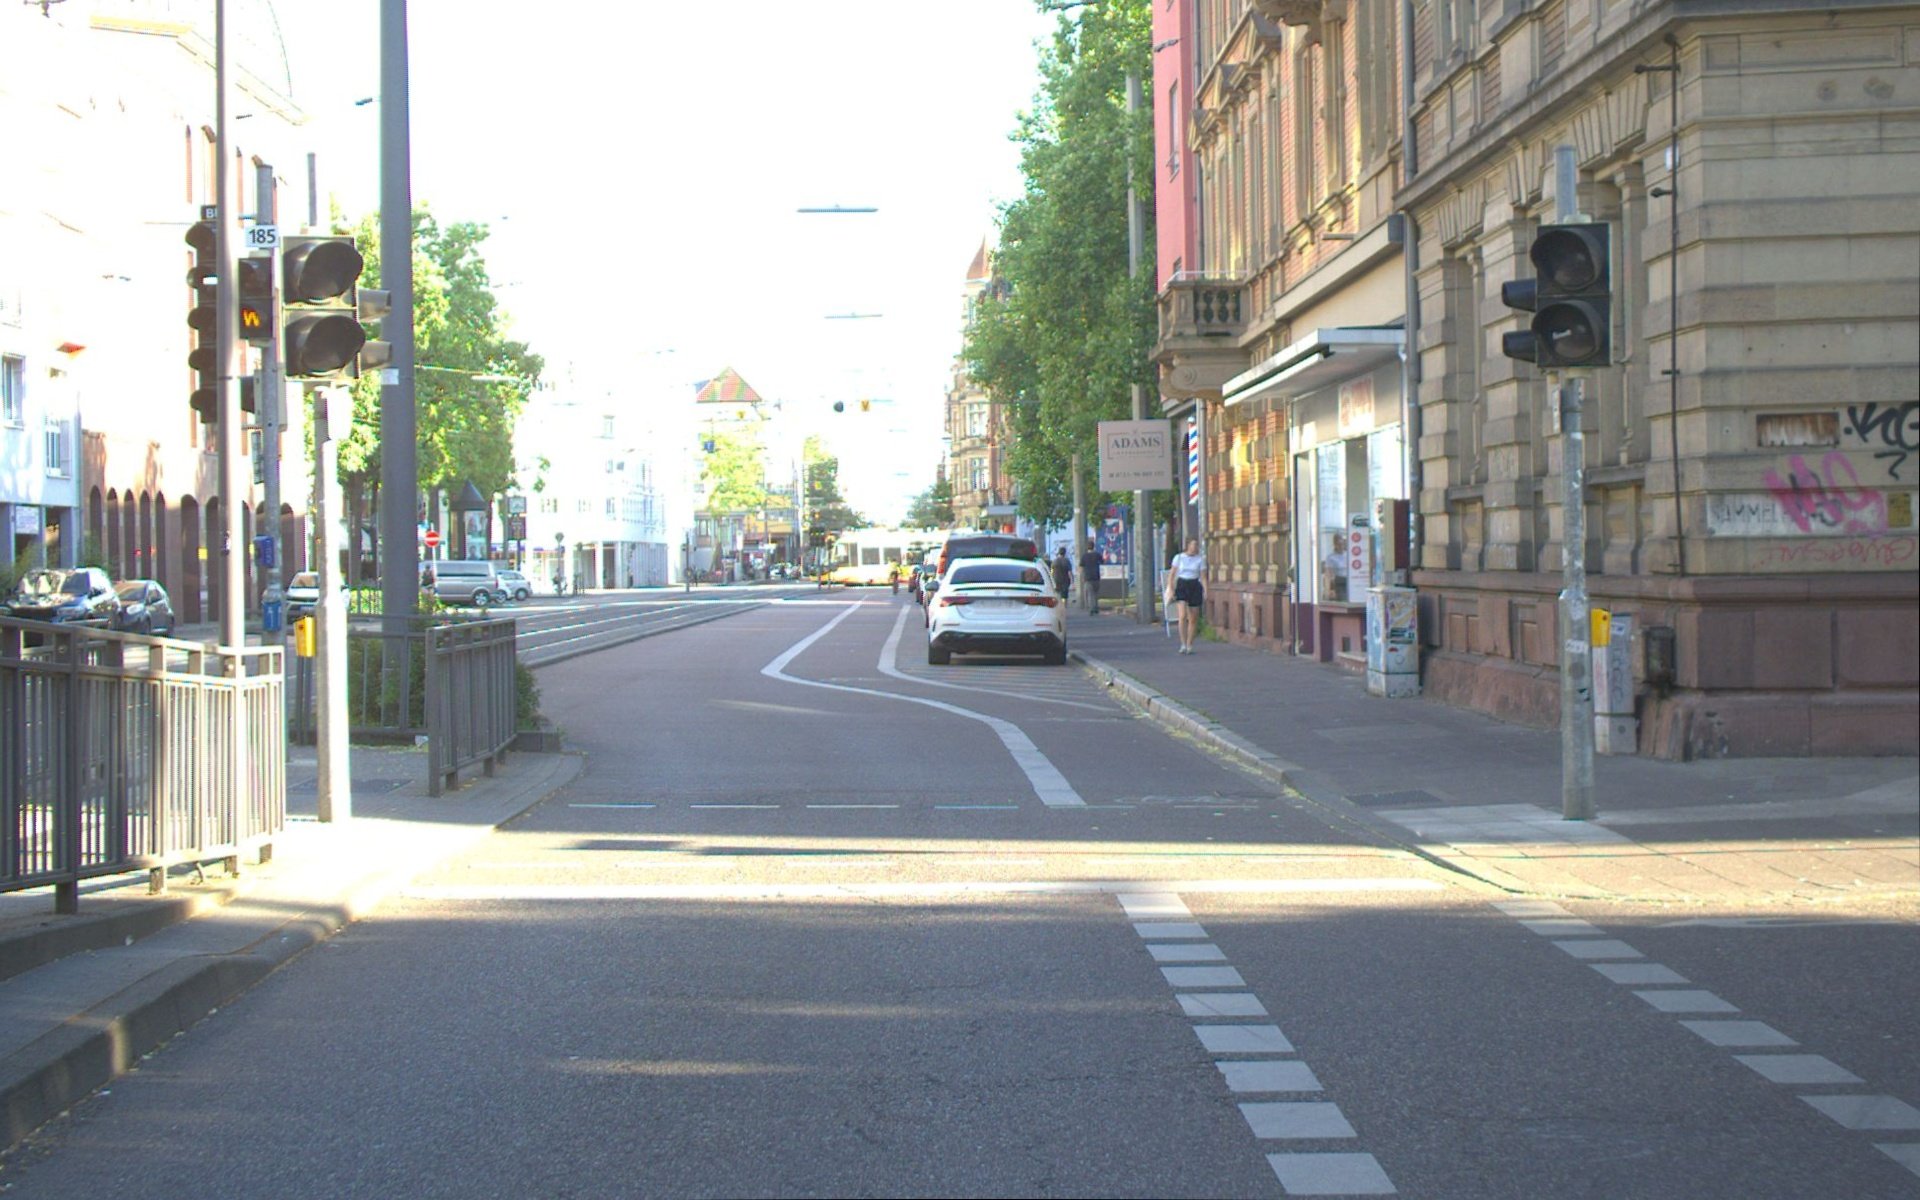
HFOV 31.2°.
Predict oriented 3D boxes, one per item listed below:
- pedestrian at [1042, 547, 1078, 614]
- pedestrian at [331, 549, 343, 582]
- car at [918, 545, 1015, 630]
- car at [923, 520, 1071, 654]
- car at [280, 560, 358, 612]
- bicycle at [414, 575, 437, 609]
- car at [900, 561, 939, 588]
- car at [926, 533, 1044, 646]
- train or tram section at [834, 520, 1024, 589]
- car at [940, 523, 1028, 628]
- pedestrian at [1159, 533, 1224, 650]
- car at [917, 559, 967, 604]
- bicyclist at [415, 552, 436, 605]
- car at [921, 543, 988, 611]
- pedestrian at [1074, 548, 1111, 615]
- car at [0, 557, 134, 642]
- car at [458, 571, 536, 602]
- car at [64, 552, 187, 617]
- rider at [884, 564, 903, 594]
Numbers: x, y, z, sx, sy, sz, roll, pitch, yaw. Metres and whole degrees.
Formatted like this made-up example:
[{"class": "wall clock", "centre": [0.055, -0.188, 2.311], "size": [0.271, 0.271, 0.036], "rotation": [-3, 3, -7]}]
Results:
[{"class": "pedestrian", "centre": [2.439, -0.479, 83.924], "size": [0.776, 1.561, 0.914], "rotation": [-4, 1, 1]}, {"class": "pedestrian", "centre": [-25.439, -1.396, 140.462], "size": [0.362, 1.339, 0.483], "rotation": [2, 0, -21]}, {"class": "car", "centre": [0.116, -0.287, 76.577], "size": [1.949, 1.782, 5.182], "rotation": [1, 0, -2]}, {"class": "car", "centre": [0.495, -0.191, 48.677], "size": [1.966, 1.765, 4.875], "rotation": [1, 0, 0]}, {"class": "car", "centre": [-19.756, -0.448, 106.111], "size": [1.869, 1.594, 4.255], "rotation": [0, 1, -4]}, {"class": "bicycle", "centre": [-17.543, -0.266, 112.784], "size": [0.582, 1.074, 2.186], "rotation": [-2, 0, -12]}, {"class": "car", "centre": [-2.181, -1.361, 184.558], "size": [2.065, 1.384, 4.225], "rotation": [2, 0, -1]}, {"class": "car", "centre": [0.440, -0.202, 60.470], "size": [1.955, 1.862, 4.989], "rotation": [1, 1, 0]}, {"class": "train or tram section", "centre": [-1.901, -2.851, 216.744], "size": [12.049, 3.946, 2.701], "rotation": [2, 0, -30]}, {"class": "car", "centre": [0.524, -0.496, 71.137], "size": [1.705, 2.112, 3.706], "rotation": [0, 0, 2]}, {"class": "pedestrian", "centre": [3.205, -0.127, 47.698], "size": [0.776, 1.561, 0.913], "rotation": [-4, 1, 2]}, {"class": "car", "centre": [-0.662, -0.686, 124.944], "size": [1.723, 1.562, 4.083], "rotation": [-1, 1, -1]}, {"class": "bicyclist", "centre": [-17.537, -0.700, 112.710], "size": [0.571, 1.706, 0.746], "rotation": [-2, 0, -11]}, {"class": "car", "centre": [-0.153, -0.720, 106.227], "size": [1.971, 2.007, 4.558], "rotation": [-2, 1, 0]}, {"class": "pedestrian", "centre": [3.227, -0.453, 83.953], "size": [0.776, 1.561, 0.914], "rotation": [-4, 1, 1]}, {"class": "car", "centre": [-18.907, -0.001, 72.128], "size": [2.090, 1.707, 4.819], "rotation": [1, 0, -2]}, {"class": "car", "centre": [-23.389, -0.672, 173.651], "size": [3.519, 1.476, 1.582], "rotation": [1, 0, -33]}, {"class": "car", "centre": [-19.292, -0.363, 79.603], "size": [1.869, 1.445, 3.583], "rotation": [1, 0, 2]}, {"class": "rider", "centre": [-3.232, -1.036, 168.184], "size": [0.883, 1.476, 0.713], "rotation": [1, 0, 0]}]
